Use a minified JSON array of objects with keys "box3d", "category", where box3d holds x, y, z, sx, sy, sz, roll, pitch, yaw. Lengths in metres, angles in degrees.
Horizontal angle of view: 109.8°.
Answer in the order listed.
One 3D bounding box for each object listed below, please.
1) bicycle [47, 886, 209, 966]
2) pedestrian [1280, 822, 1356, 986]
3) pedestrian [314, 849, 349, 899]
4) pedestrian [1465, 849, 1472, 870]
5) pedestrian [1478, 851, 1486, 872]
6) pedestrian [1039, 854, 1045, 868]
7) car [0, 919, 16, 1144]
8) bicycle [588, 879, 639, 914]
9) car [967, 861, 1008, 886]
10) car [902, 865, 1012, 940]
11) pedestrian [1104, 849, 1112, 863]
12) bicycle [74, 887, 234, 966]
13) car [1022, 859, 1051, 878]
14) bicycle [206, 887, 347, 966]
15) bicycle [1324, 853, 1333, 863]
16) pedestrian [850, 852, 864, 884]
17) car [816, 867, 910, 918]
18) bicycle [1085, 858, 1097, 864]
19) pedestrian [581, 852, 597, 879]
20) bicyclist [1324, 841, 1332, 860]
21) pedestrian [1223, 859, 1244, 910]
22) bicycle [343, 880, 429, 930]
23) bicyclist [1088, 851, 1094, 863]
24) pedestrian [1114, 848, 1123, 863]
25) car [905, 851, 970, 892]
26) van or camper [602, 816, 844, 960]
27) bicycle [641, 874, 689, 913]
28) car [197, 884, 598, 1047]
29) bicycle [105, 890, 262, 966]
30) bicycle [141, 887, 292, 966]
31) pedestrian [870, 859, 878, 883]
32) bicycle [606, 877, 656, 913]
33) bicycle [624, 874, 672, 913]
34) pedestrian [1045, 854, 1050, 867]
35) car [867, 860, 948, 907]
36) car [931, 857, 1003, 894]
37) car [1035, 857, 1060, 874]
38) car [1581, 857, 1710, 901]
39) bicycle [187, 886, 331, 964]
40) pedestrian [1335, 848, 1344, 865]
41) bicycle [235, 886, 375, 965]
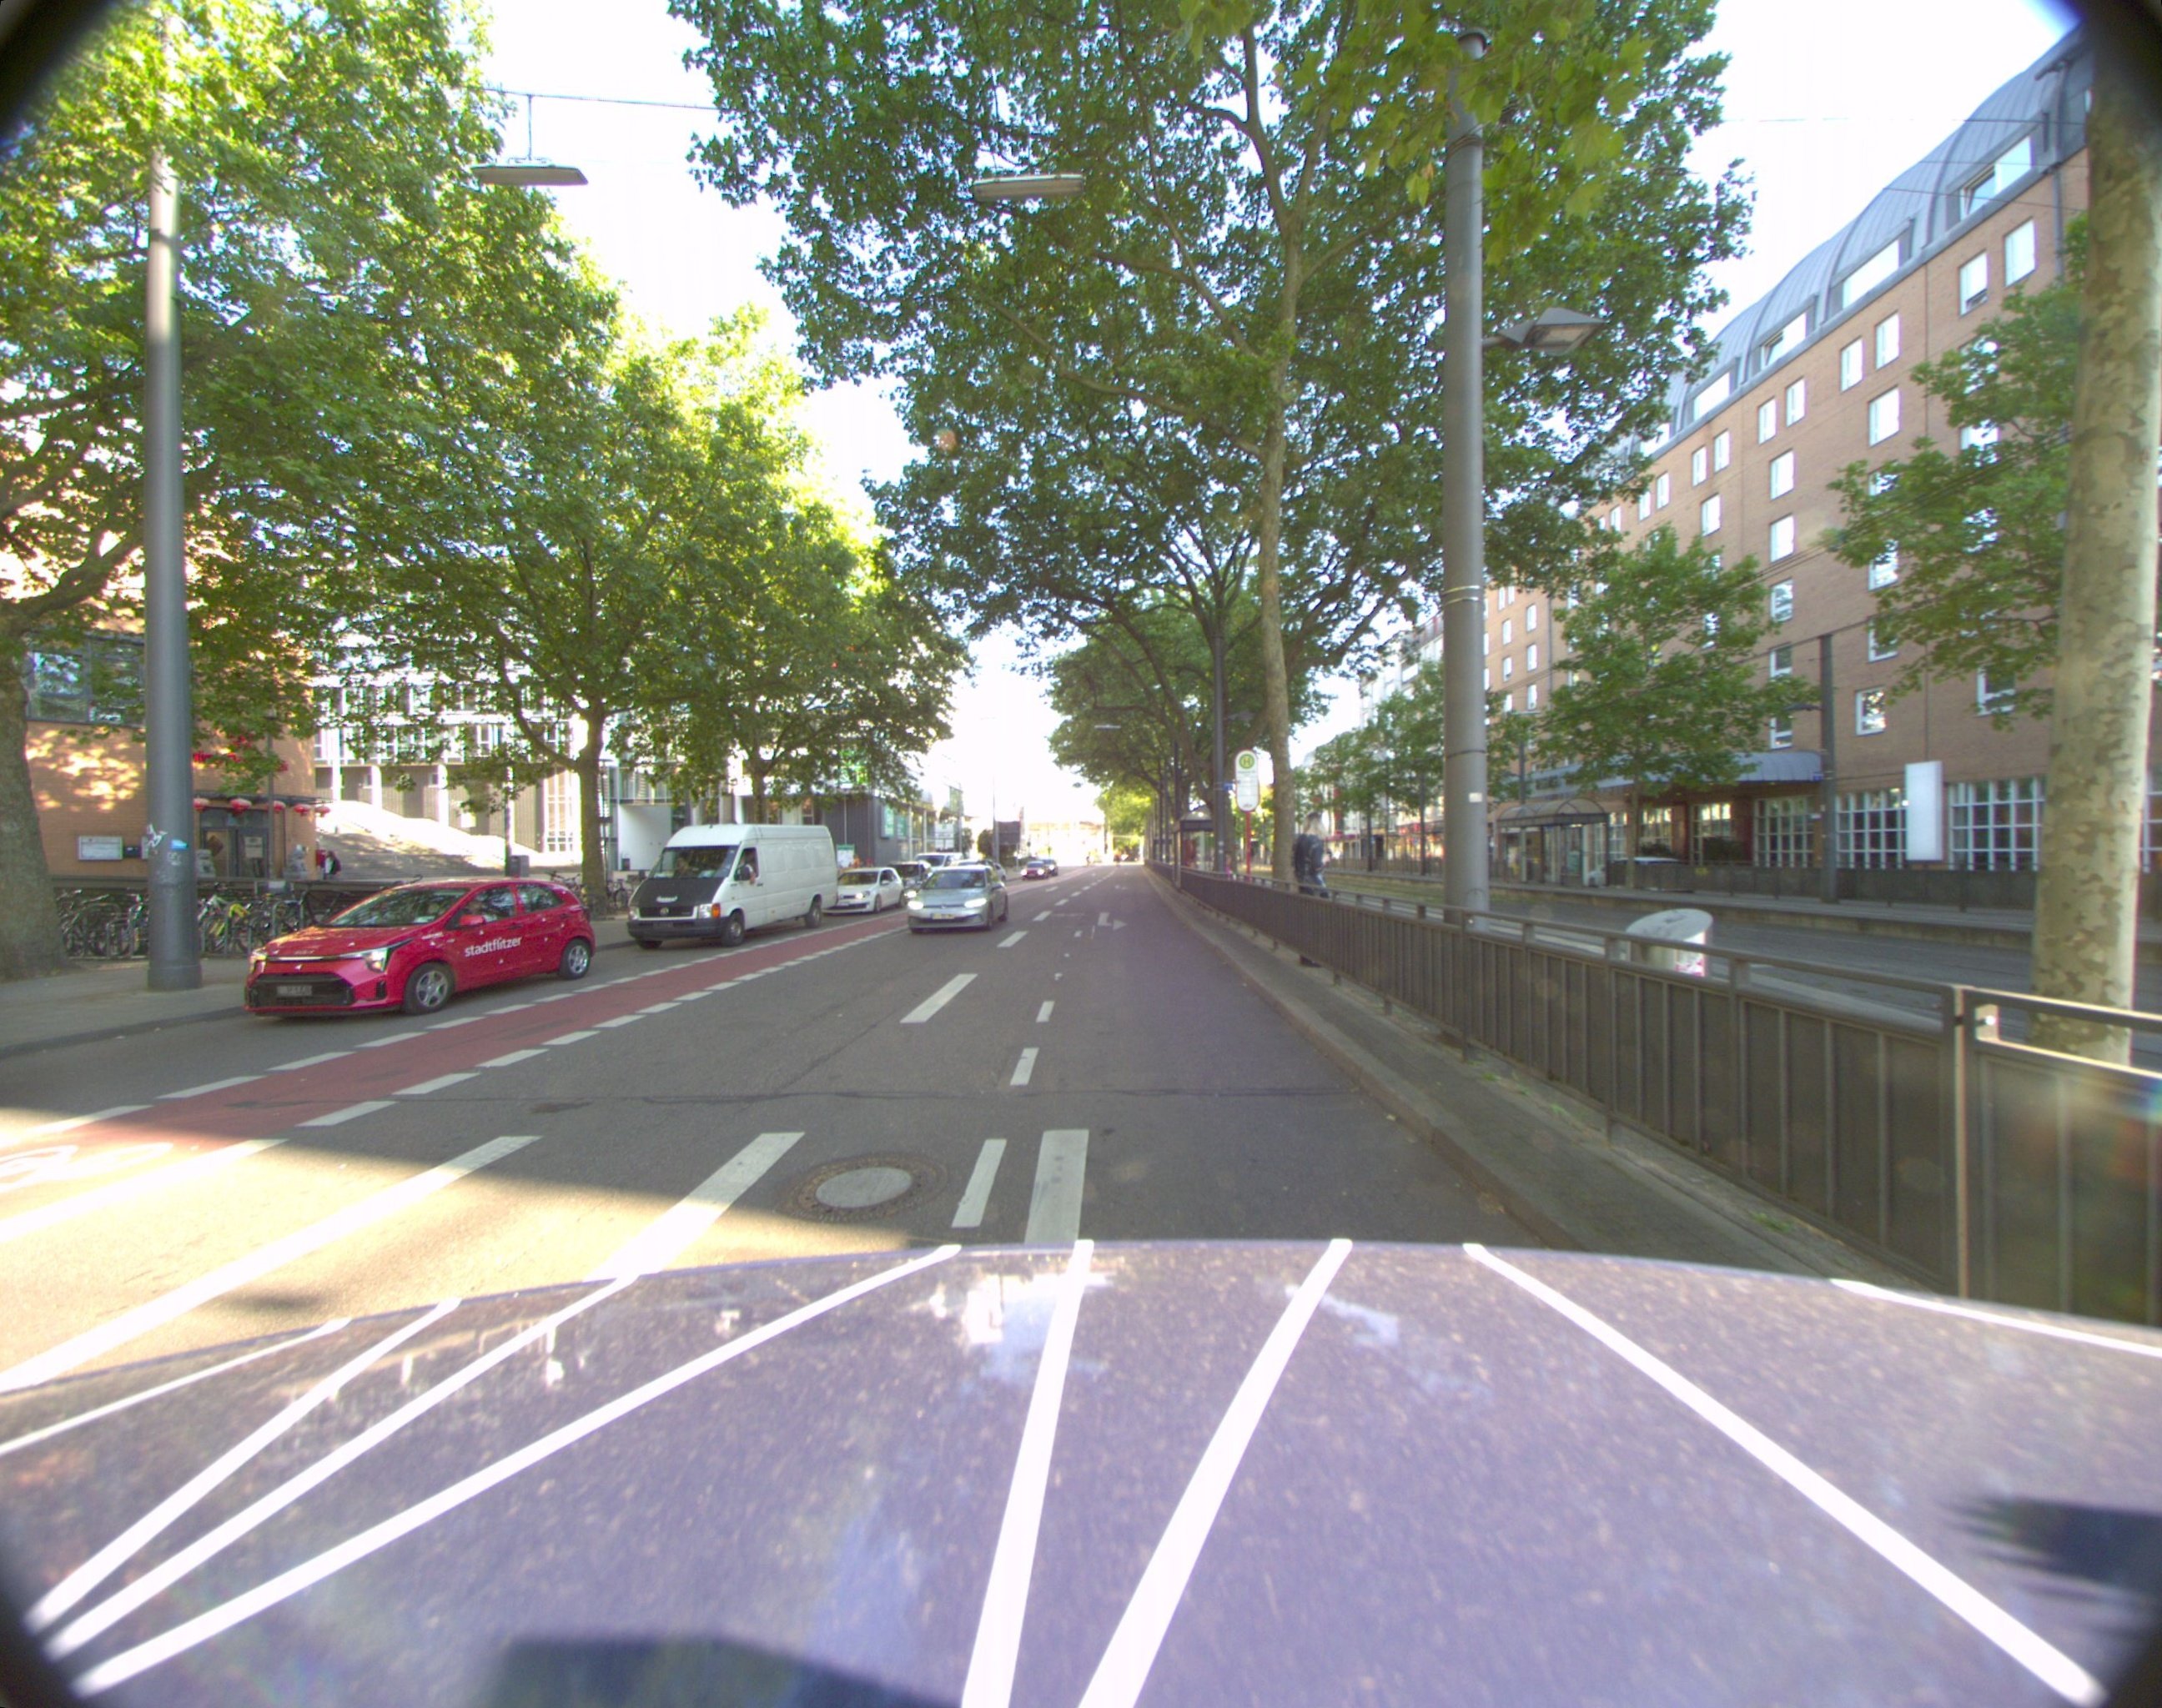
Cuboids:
[{"box3d":[-16.392,1.198,13.142,0.435,1.187,1.850,0,0,1],"category":"bicycle"},{"box3d":[2.823,0.563,9.073,0.623,1.873,0.605,-2,3,-16],"category":"pedestrian"},{"box3d":[-30.839,0.808,31.264,0.875,2.025,0.586,0,1,6],"category":"pedestrian"},{"box3d":[27.668,0.389,54.272,0.438,1.497,0.659,0,1,23],"category":"pedestrian"},{"box3d":[28.525,0.510,54.073,0.438,1.511,0.659,0,1,23],"category":"pedestrian"},{"box3d":[-4.753,0.866,93.132,0.648,1.644,0.643,-1,1,1],"category":"pedestrian"},{"box3d":[-8.015,1.188,2.944,1.743,1.476,4.251,-1,0,0],"category":"car"},{"box3d":[-15.225,1.365,24.798,0.516,1.027,1.850,0,0,1],"category":"bicycle"},{"box3d":[-5.705,1.172,46.989,1.801,1.369,4.001,0,0,3],"category":"car"},{"box3d":[-2.767,1.049,17.829,1.733,1.432,4.000,-2,0,2],"category":"car"},{"box3d":[3.865,0.223,109.239,0.771,2.002,0.832,0,1,42],"category":"pedestrian"},{"box3d":[-15.929,1.203,13.139,0.458,1.187,1.850,0,0,1],"category":"bicycle"},{"box3d":[-3.524,1.148,60.613,1.801,1.369,4.001,0,0,3],"category":"car"},{"box3d":[-13.825,1.204,13.138,0.448,1.187,1.850,0,0,1],"category":"bicycle"},{"box3d":[24.782,0.432,76.097,0.451,0.998,1.753,-1,0,6],"category":"bicycle"},{"box3d":[-12.465,0.783,42.229,0.627,1.758,0.451,-1,1,2],"category":"pedestrian"},{"box3d":[-7.006,1.186,24.875,1.682,1.420,4.001,-1,0,3],"category":"car"},{"box3d":[1.479,1.014,113.009,1.672,0.879,0.580,-1,1,-18],"category":"bicycle"},{"box3d":[-28.629,0.673,44.185,0.719,1.549,0.639,-1,1,-35],"category":"pedestrian"},{"box3d":[24.680,-0.345,75.993,0.572,1.893,0.813,0,1,6],"category":"bicyclist"},{"box3d":[3.927,0.778,19.628,0.500,1.308,0.419,0,1,8],"category":"pedestrian"},{"box3d":[-17.876,1.286,19.595,0.517,1.187,1.790,0,0,1],"category":"bicycle"},{"box3d":[1.448,0.443,112.982,0.715,1.707,0.672,-1,1,-17],"category":"bicyclist"},{"box3d":[5.340,0.234,108.424,0.800,2.002,0.860,-1,2,44],"category":"pedestrian"},{"box3d":[-7.537,0.864,40.427,1.965,1.983,4.960,-1,0,7],"category":"car"},{"box3d":[-7.528,0.613,17.075,1.998,2.563,6.575,-2,0,3],"category":"van or camper"},{"box3d":[-13.577,1.268,24.845,0.522,1.187,1.850,0,0,1],"category":"bicycle"},{"box3d":[-7.953,1.178,9.382,1.606,1.449,3.651,-1,0,0],"category":"car"},{"box3d":[-15.430,1.236,13.137,0.485,1.118,1.850,0,0,1],"category":"bicycle"},{"box3d":[-14.847,1.199,13.129,0.447,1.187,1.850,0,0,1],"category":"bicycle"},{"box3d":[-11.838,0.964,43.455,0.301,1.367,0.502,-1,1,4],"category":"pedestrian"},{"box3d":[-14.664,1.316,24.822,0.522,1.088,1.797,0,0,1],"category":"bicycle"},{"box3d":[-14.120,1.267,24.824,0.495,1.187,1.850,0,0,1],"category":"bicycle"},{"box3d":[-4.422,0.838,99.445,0.611,1.644,0.583,-1,1,1],"category":"pedestrian"},{"box3d":[-6.699,1.084,29.746,1.818,1.610,4.229,-1,0,5],"category":"car"},{"box3d":[-5.492,1.015,37.292,1.964,1.610,4.335,-1,0,14],"category":"car"},{"box3d":[-2.965,1.041,68.174,1.801,1.438,4.001,0,0,3],"category":"car"},{"box3d":[20.921,0.877,28.416,1.760,1.479,4.309,-1,0,2],"category":"car"},{"box3d":[-14.331,1.200,13.329,0.484,1.187,1.850,0,0,1],"category":"bicycle"},{"box3d":[31.263,0.311,91.766,0.806,2.002,0.763,-1,1,1],"category":"pedestrian"},{"box3d":[-13.322,1.194,13.132,0.482,1.187,1.850,0,0,1],"category":"bicycle"}]
